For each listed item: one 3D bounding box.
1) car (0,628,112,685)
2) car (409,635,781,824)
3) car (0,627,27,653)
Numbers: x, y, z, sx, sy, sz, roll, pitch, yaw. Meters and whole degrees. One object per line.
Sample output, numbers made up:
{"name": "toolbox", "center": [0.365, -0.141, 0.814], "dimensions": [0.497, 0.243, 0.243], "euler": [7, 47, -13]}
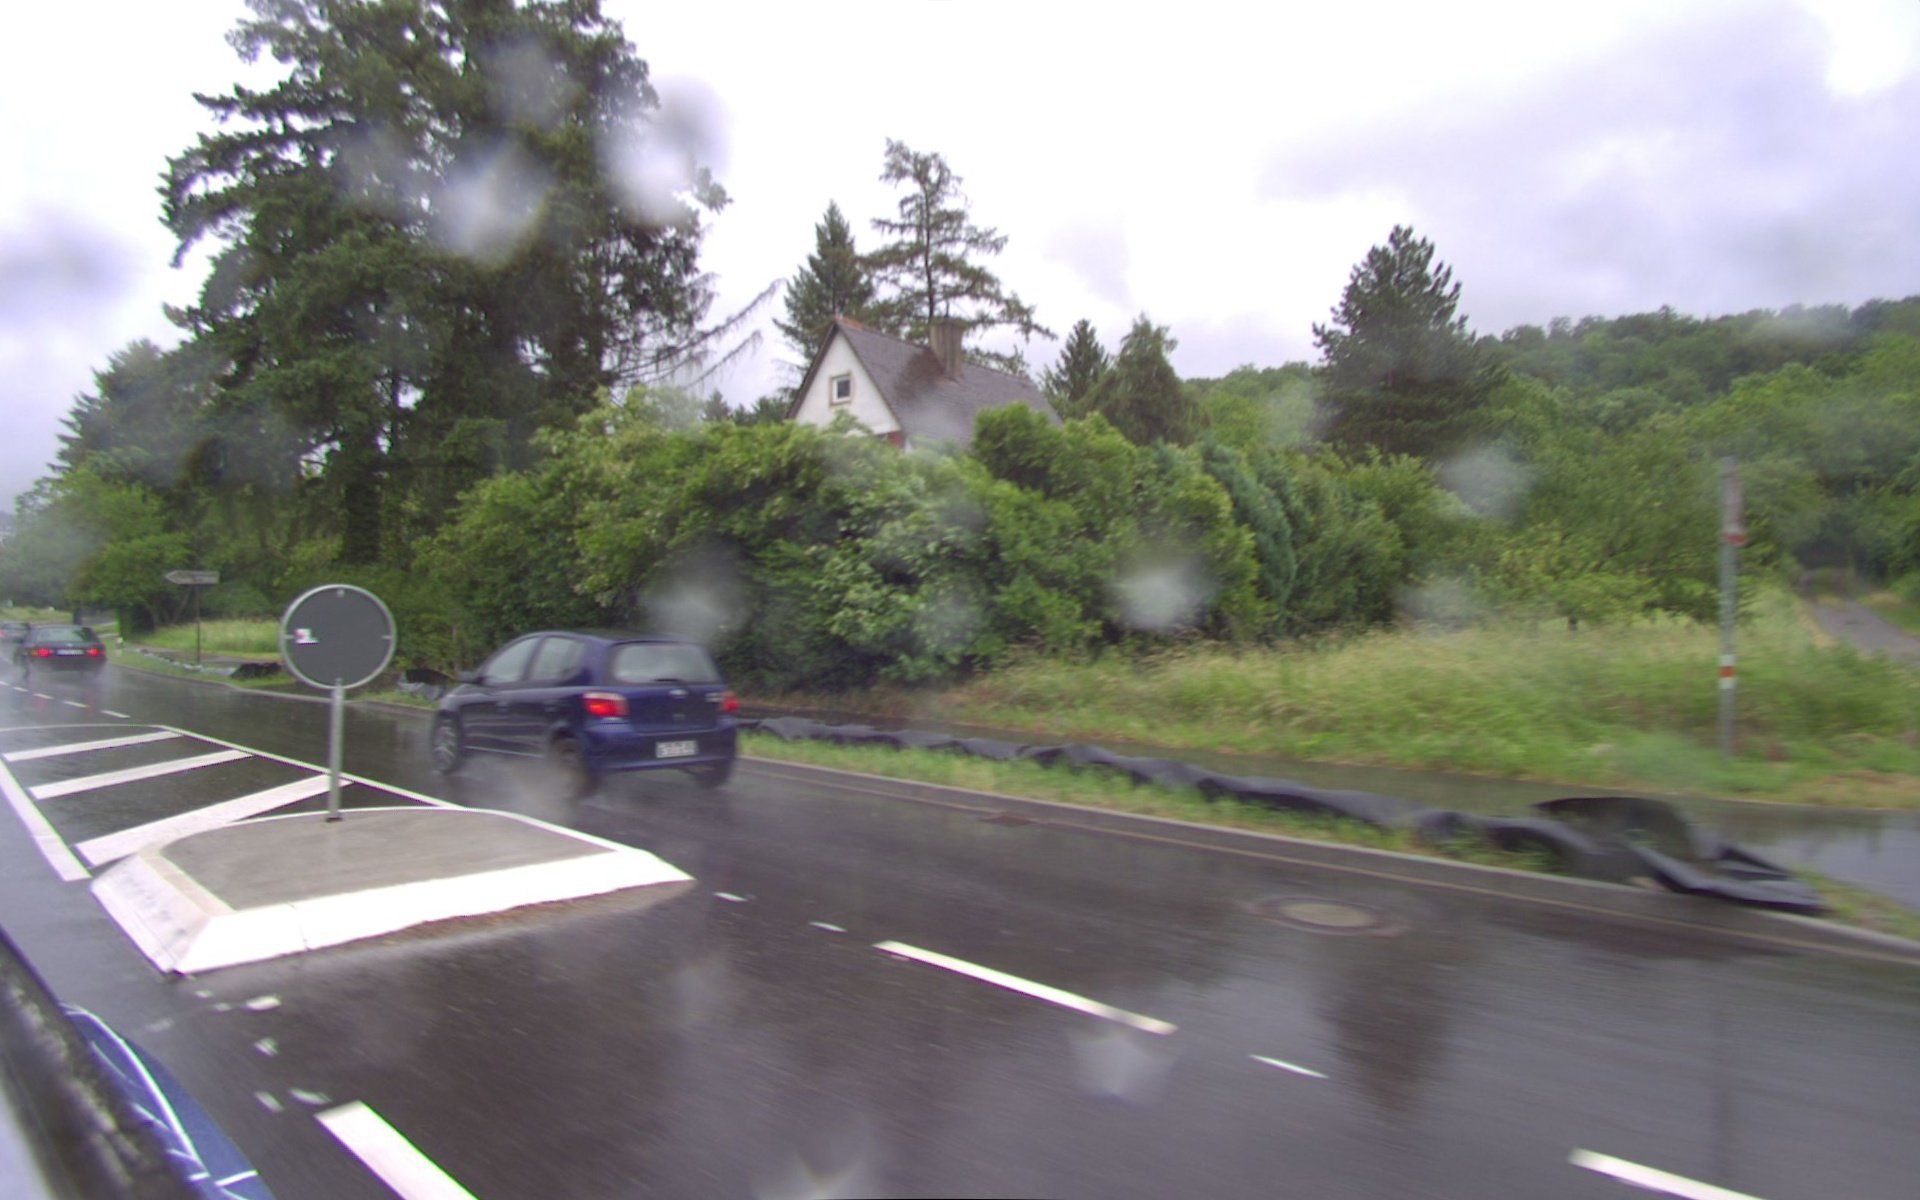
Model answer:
{"name": "car", "center": [-24.026, 1.481, 26.734], "dimensions": [4.220, 1.393, 1.666], "euler": [-2, -5, 39]}
{"name": "car", "center": [-3.600, 1.094, 9.729], "dimensions": [3.679, 1.456, 1.723], "euler": [-2, -4, 40]}
{"name": "car", "center": [-60.881, 2.591, 64.604], "dimensions": [1.740, 1.564, 4.002], "euler": [3, -5, -44]}
